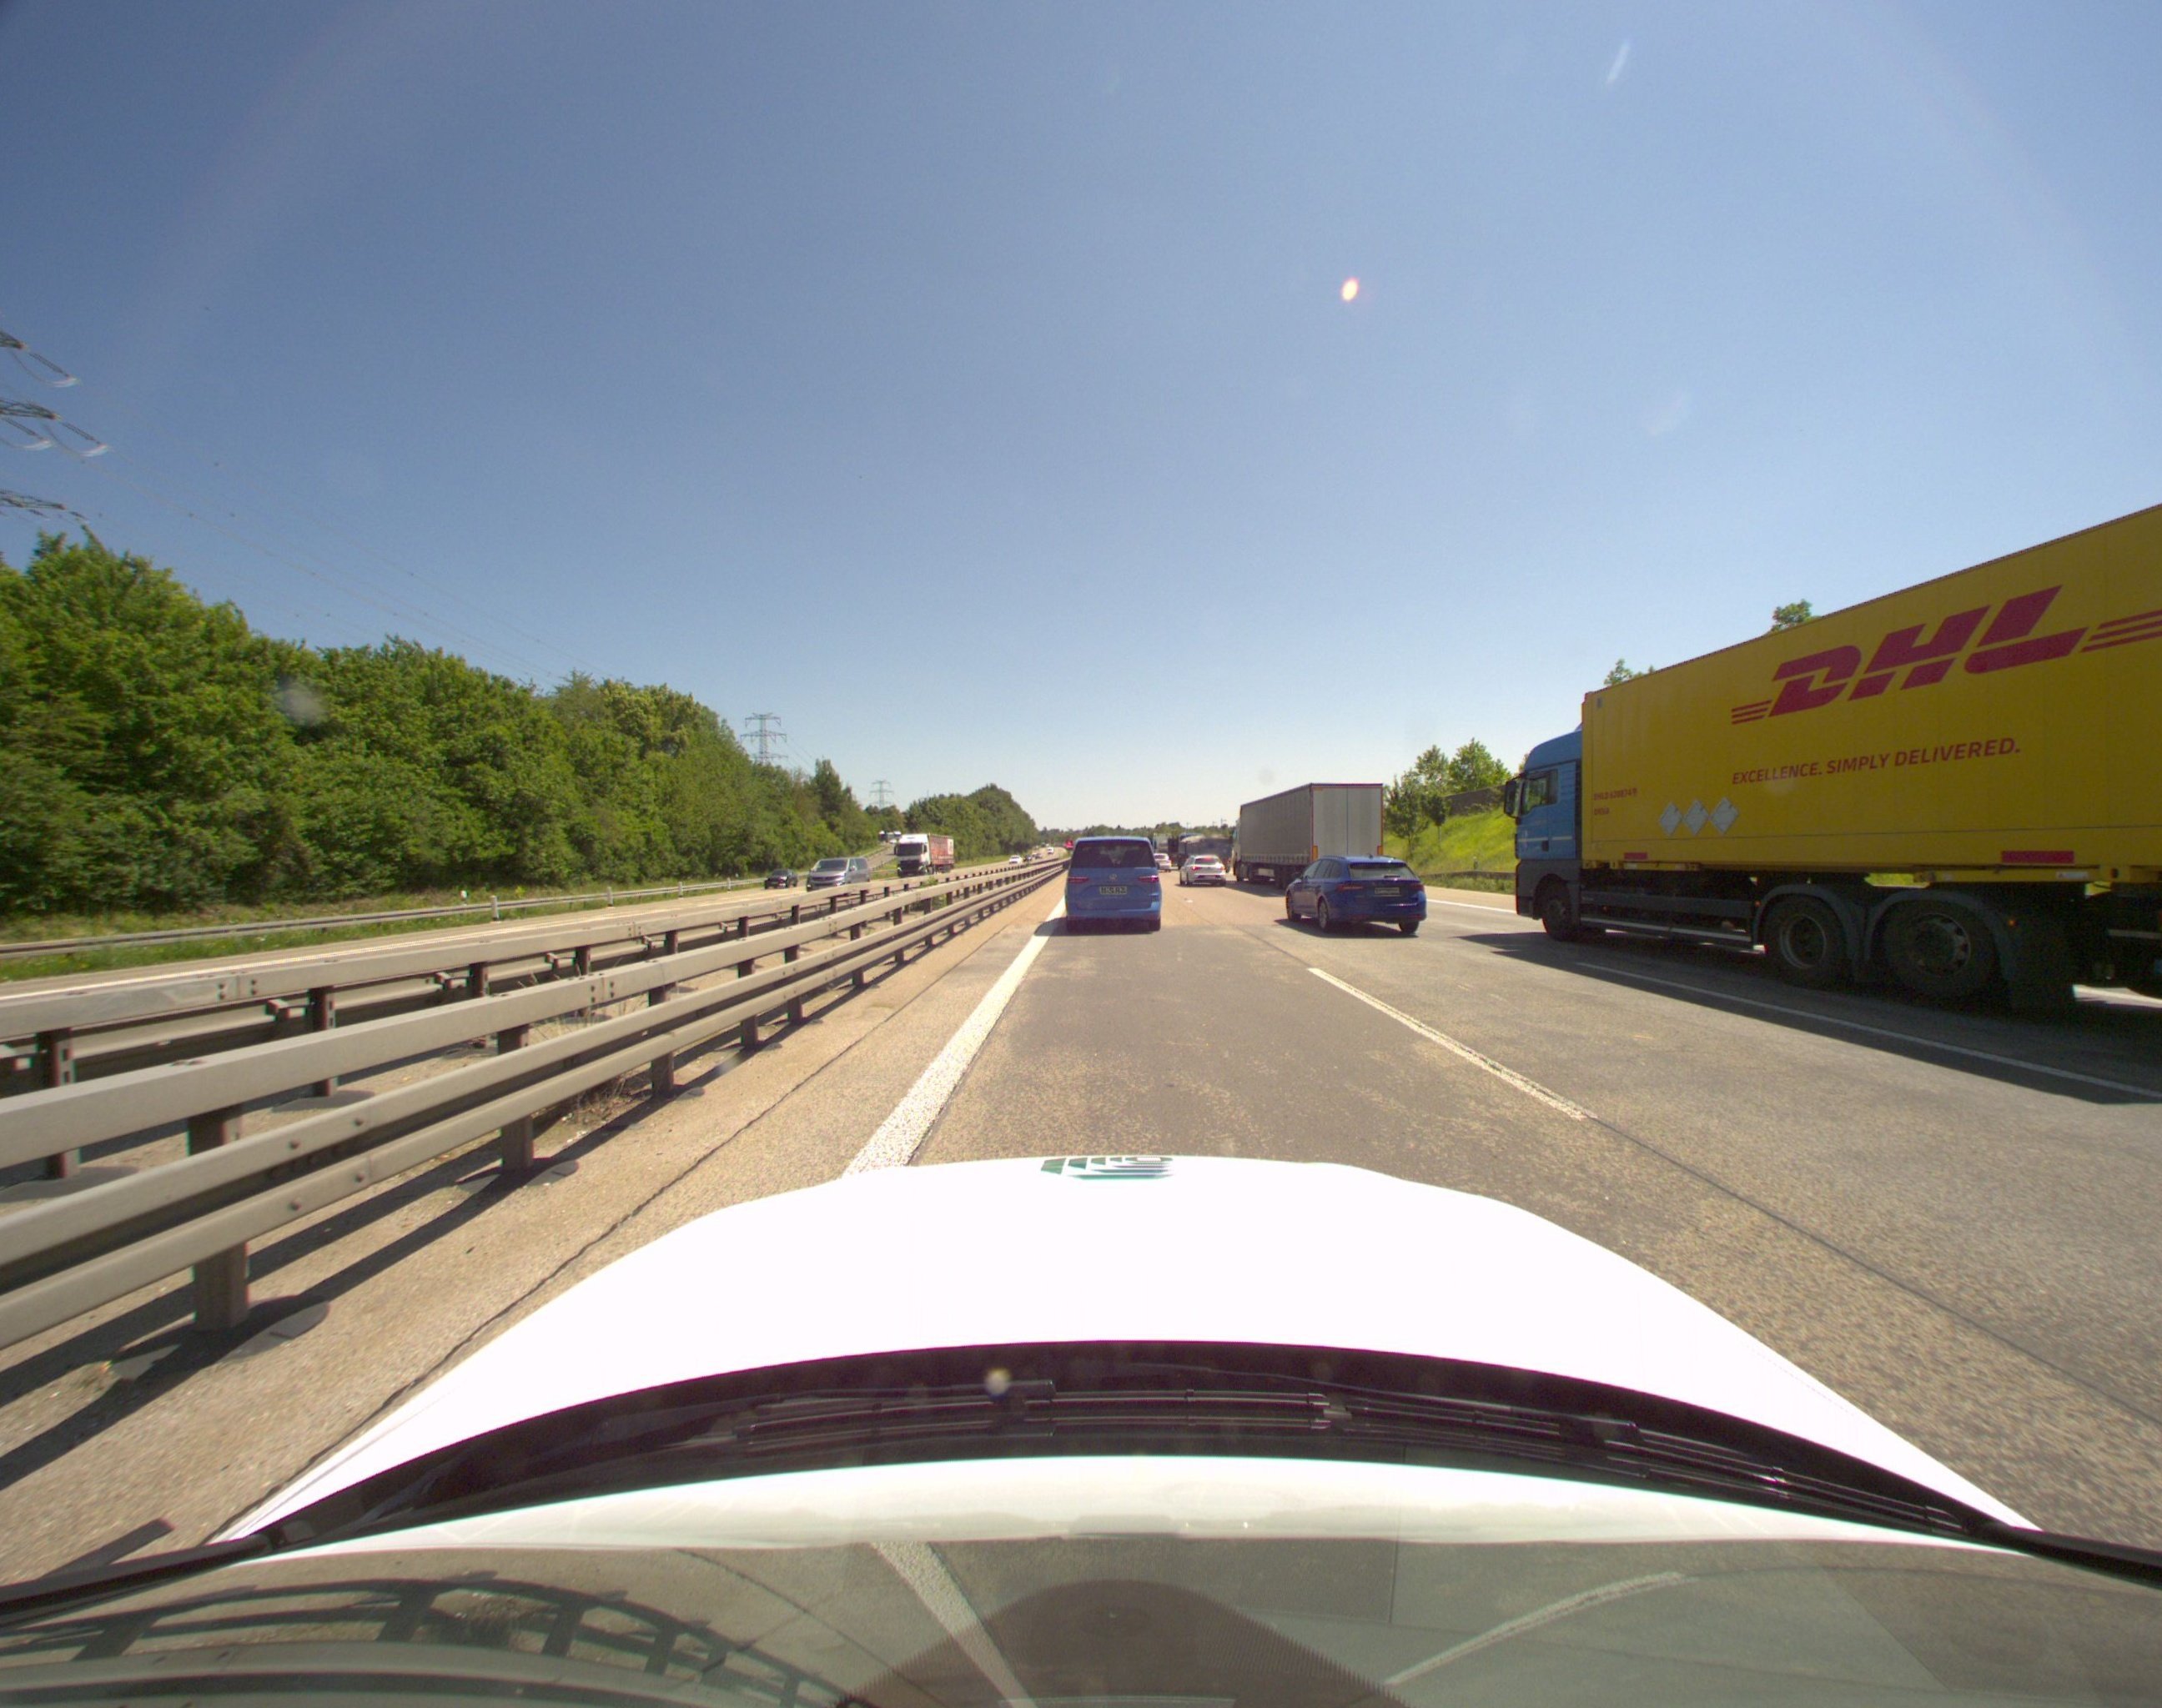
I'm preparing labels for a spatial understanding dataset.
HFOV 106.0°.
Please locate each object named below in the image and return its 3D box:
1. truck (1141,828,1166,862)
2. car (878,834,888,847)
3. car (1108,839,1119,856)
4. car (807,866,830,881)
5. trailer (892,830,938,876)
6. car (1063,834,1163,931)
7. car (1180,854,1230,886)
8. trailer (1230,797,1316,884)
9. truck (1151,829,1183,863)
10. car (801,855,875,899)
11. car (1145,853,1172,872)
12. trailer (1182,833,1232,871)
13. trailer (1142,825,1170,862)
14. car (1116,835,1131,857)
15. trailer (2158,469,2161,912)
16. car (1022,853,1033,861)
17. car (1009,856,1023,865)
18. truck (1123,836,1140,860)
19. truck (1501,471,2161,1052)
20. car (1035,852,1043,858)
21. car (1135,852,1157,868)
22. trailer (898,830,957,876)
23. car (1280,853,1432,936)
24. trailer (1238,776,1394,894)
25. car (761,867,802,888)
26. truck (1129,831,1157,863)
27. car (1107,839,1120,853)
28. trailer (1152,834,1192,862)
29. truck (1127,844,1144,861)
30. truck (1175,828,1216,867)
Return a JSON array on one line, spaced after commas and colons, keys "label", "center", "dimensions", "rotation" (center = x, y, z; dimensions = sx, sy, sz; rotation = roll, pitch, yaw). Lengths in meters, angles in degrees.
[{"label": "truck", "center": [11.292, -1.310, 126.752], "dimensions": [3.644, 5.180, 5.712], "rotation": [0, -1, 2]}, {"label": "car", "center": [-50.261, -3.430, 206.866], "dimensions": [2.074, 2.880, 6.691], "rotation": [-2, -1, -18]}, {"label": "car", "center": [10.316, -2.068, 262.017], "dimensions": [3.209, 5.257, 8.140], "rotation": [0, -1, -1]}, {"label": "car", "center": [-26.779, 1.969, 83.231], "dimensions": [1.686, 1.456, 4.329], "rotation": [0, -1, -11]}, {"label": "trailer", "center": [-15.166, -0.097, 74.885], "dimensions": [2.747, 3.976, 6.132], "rotation": [-3, 0, 1]}, {"label": "car", "center": [0.687, 0.560, 17.395], "dimensions": [1.894, 1.838, 4.002], "rotation": [0, -1, 2]}, {"label": "car", "center": [5.697, 0.708, 37.919], "dimensions": [1.860, 1.361, 4.002], "rotation": [0, 0, 2]}, {"label": "trailer", "center": [9.578, -0.663, 41.364], "dimensions": [2.914, 4.043, 6.412], "rotation": [-1, 0, 1]}, {"label": "truck", "center": [10.923, -0.961, 104.411], "dimensions": [3.612, 4.094, 7.527], "rotation": [0, -1, 2]}, {"label": "car", "center": [-11.716, 1.058, 39.641], "dimensions": [1.986, 1.941, 4.898], "rotation": [-2, -1, 2]}, {"label": "car", "center": [6.161, 0.677, 65.164], "dimensions": [1.834, 1.454, 4.000], "rotation": [0, -1, 0]}, {"label": "trailer", "center": [9.943, -0.222, 65.037], "dimensions": [2.734, 2.836, 9.118], "rotation": [0, 1, 1]}, {"label": "trailer", "center": [11.018, -1.365, 120.423], "dimensions": [3.631, 5.136, 13.084], "rotation": [0, -1, 3]}, {"label": "car", "center": [10.617, -1.888, 204.126], "dimensions": [3.209, 5.257, 8.141], "rotation": [0, -1, -1]}, {"label": "trailer", "center": [8.870, -0.654, 1.049], "dimensions": [2.755, 4.117, 9.380], "rotation": [0, 0, 2]}, {"label": "car", "center": [-10.754, 0.559, 164.618], "dimensions": [1.870, 1.446, 4.144], "rotation": [-3, -1, 0]}, {"label": "car", "center": [-10.554, 1.040, 132.761], "dimensions": [1.845, 1.467, 4.303], "rotation": [-2, -1, -1]}, {"label": "truck", "center": [10.404, -1.175, 169.679], "dimensions": [3.058, 4.920, 10.690], "rotation": [0, -1, 1]}, {"label": "truck", "center": [9.129, -0.657, 10.246], "dimensions": [2.755, 4.109, 9.955], "rotation": [0, 0, 1]}, {"label": "car", "center": [-10.474, 0.283, 203.105], "dimensions": [1.767, 1.631, 3.950], "rotation": [0, -1, 0]}, {"label": "car", "center": [6.076, 0.562, 75.891], "dimensions": [1.775, 1.524, 4.000], "rotation": [0, -1, 1]}, {"label": "trailer", "center": [-15.042, -0.150, 81.268], "dimensions": [2.754, 3.976, 14.683], "rotation": [-3, 0, 1]}, {"label": "car", "center": [5.363, 0.730, 16.499], "dimensions": [1.700, 1.441, 4.429], "rotation": [0, -1, 1]}, {"label": "trailer", "center": [9.460, -0.669, 35.074], "dimensions": [2.952, 4.049, 13.754], "rotation": [-1, 0, 1]}, {"label": "car", "center": [-23.933, 1.879, 65.269], "dimensions": [1.992, 1.576, 5.261], "rotation": [0, -1, -7]}, {"label": "truck", "center": [10.873, -1.100, 143.803], "dimensions": [3.610, 5.212, 15.683], "rotation": [0, -1, -1]}, {"label": "car", "center": [6.508, -1.656, 164.306], "dimensions": [2.542, 2.717, 5.621], "rotation": [0, -1, 1]}, {"label": "trailer", "center": [10.507, -0.596, 95.926], "dimensions": [3.632, 3.079, 15.779], "rotation": [0, -1, 2]}, {"label": "truck", "center": [6.206, -0.133, 93.441], "dimensions": [1.719, 1.857, 4.000], "rotation": [0, -1, 1]}, {"label": "truck", "center": [10.117, -0.604, 72.443], "dimensions": [2.734, 3.311, 7.134], "rotation": [0, 1, 1]}]
